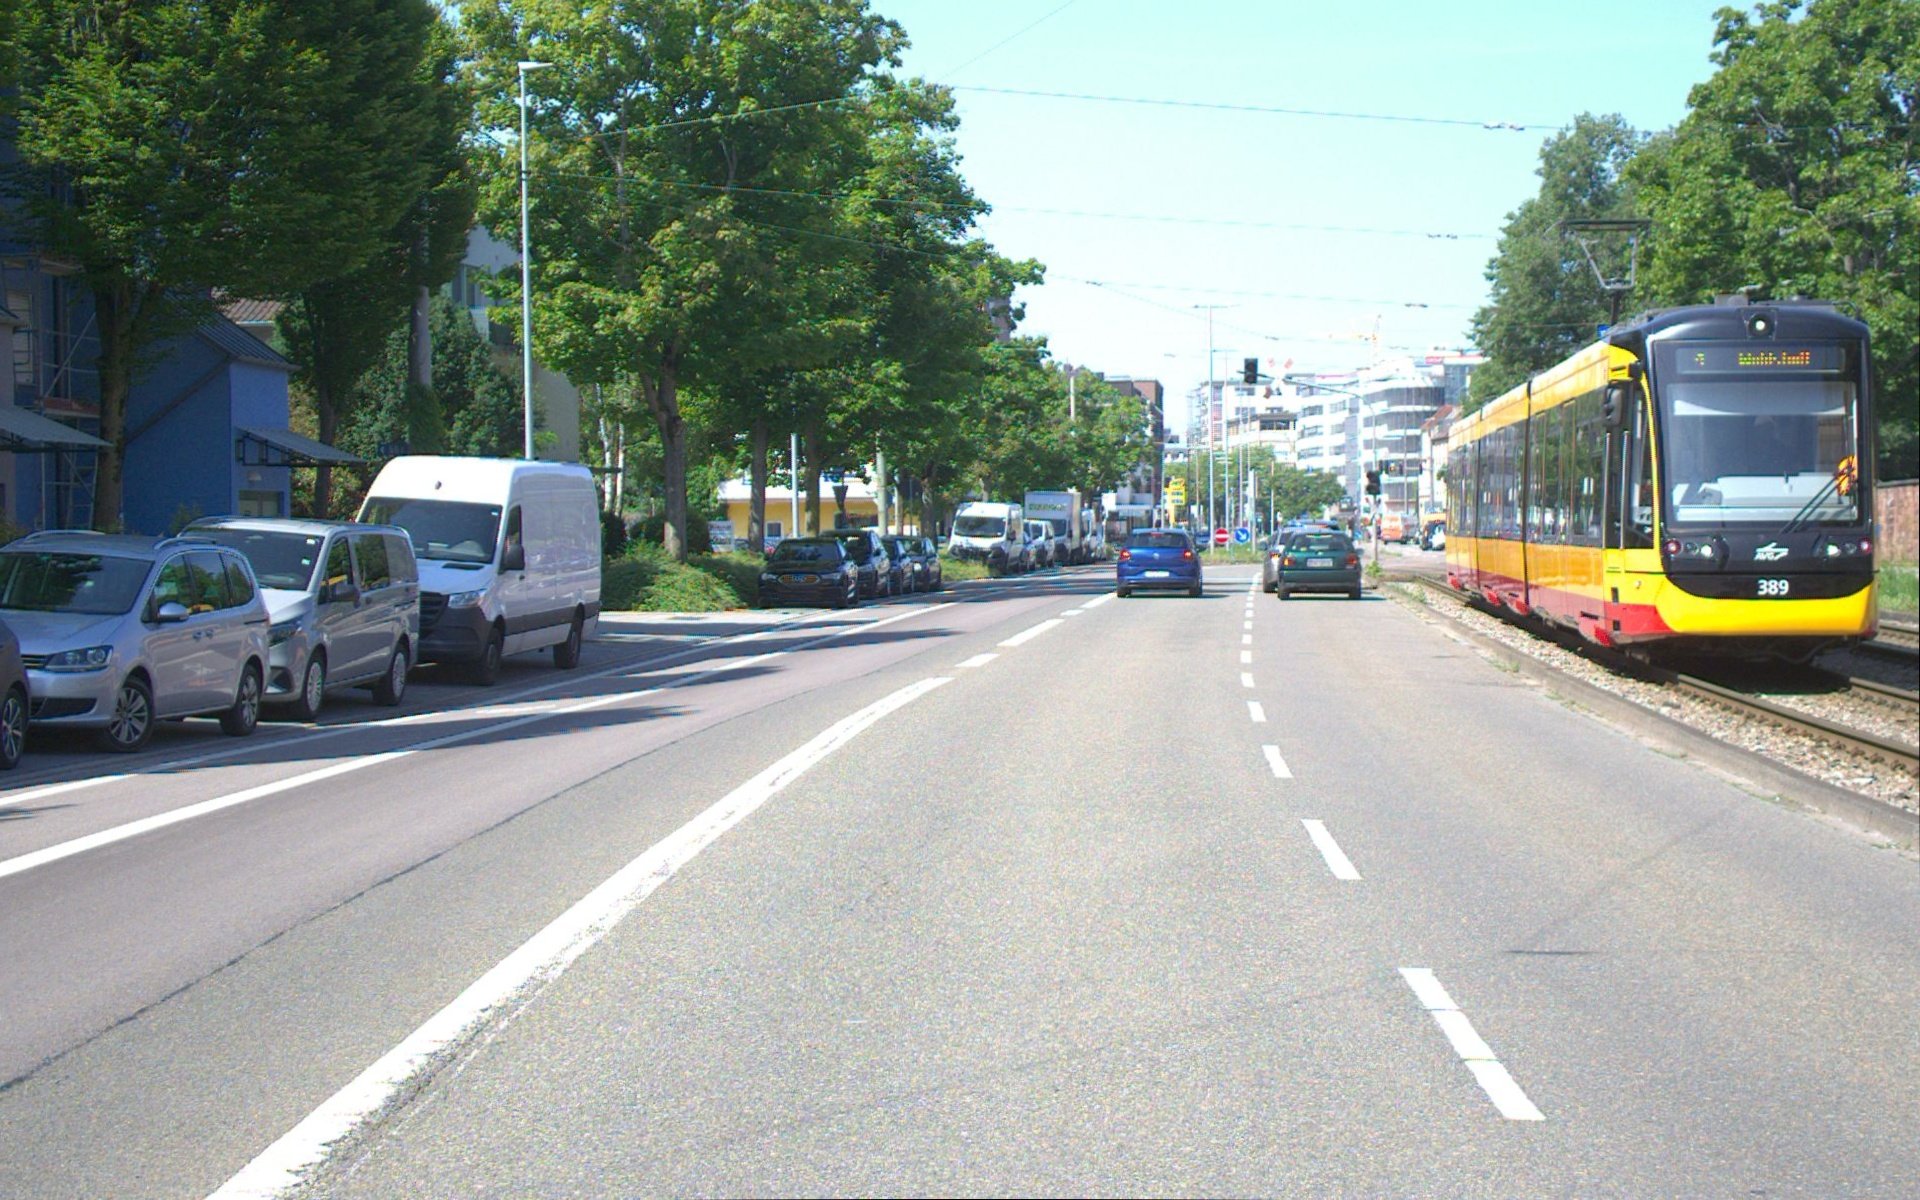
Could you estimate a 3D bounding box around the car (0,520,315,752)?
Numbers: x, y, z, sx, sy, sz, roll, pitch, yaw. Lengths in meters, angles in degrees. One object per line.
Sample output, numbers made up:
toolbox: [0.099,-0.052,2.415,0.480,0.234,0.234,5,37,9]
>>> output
car: [-7.067,0.221,29.053,1.801,1.718,4.908,3,2,6]

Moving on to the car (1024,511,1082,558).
car: [3.817,-2.695,140.335,1.827,1.860,4.723,0,1,8]

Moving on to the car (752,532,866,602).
car: [-3.183,-0.717,73.184,1.700,1.412,3.999,0,1,8]

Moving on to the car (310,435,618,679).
car: [-6.013,-0.567,42.742,1.995,2.705,7.155,2,1,6]

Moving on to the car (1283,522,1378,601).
car: [7.531,-0.808,70.126,1.801,1.502,4.000,1,2,4]

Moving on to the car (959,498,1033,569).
car: [1.286,-2.321,120.073,1.880,2.407,5.114,0,1,8]

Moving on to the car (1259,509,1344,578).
car: [7.648,-1.289,77.300,1.801,1.455,4.000,1,2,4]

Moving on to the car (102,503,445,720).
car: [-6.789,0.050,34.646,1.920,1.941,5.353,2,1,5]

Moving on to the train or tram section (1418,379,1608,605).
train or tram section: [10.094,-1.953,63.880,2.512,3.734,13.309,-1,1,5]

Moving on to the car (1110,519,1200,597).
car: [4.142,-0.905,72.522,1.801,1.502,4.000,1,2,4]

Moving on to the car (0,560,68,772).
car: [-7.670,0.467,23.872,1.690,1.469,4.048,2,1,3]

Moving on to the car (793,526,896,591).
car: [-2.681,-0.991,80.525,1.700,1.477,3.999,0,1,8]

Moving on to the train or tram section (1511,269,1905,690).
train or tram section: [7.758,-1.235,37.429,2.512,3.734,13.309,-1,1,5]

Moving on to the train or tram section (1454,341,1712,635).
train or tram section: [8.926,-1.589,50.657,2.512,3.734,13.309,-1,1,5]

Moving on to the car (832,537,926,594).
car: [-2.004,-0.884,86.026,1.700,1.347,3.999,0,1,8]
